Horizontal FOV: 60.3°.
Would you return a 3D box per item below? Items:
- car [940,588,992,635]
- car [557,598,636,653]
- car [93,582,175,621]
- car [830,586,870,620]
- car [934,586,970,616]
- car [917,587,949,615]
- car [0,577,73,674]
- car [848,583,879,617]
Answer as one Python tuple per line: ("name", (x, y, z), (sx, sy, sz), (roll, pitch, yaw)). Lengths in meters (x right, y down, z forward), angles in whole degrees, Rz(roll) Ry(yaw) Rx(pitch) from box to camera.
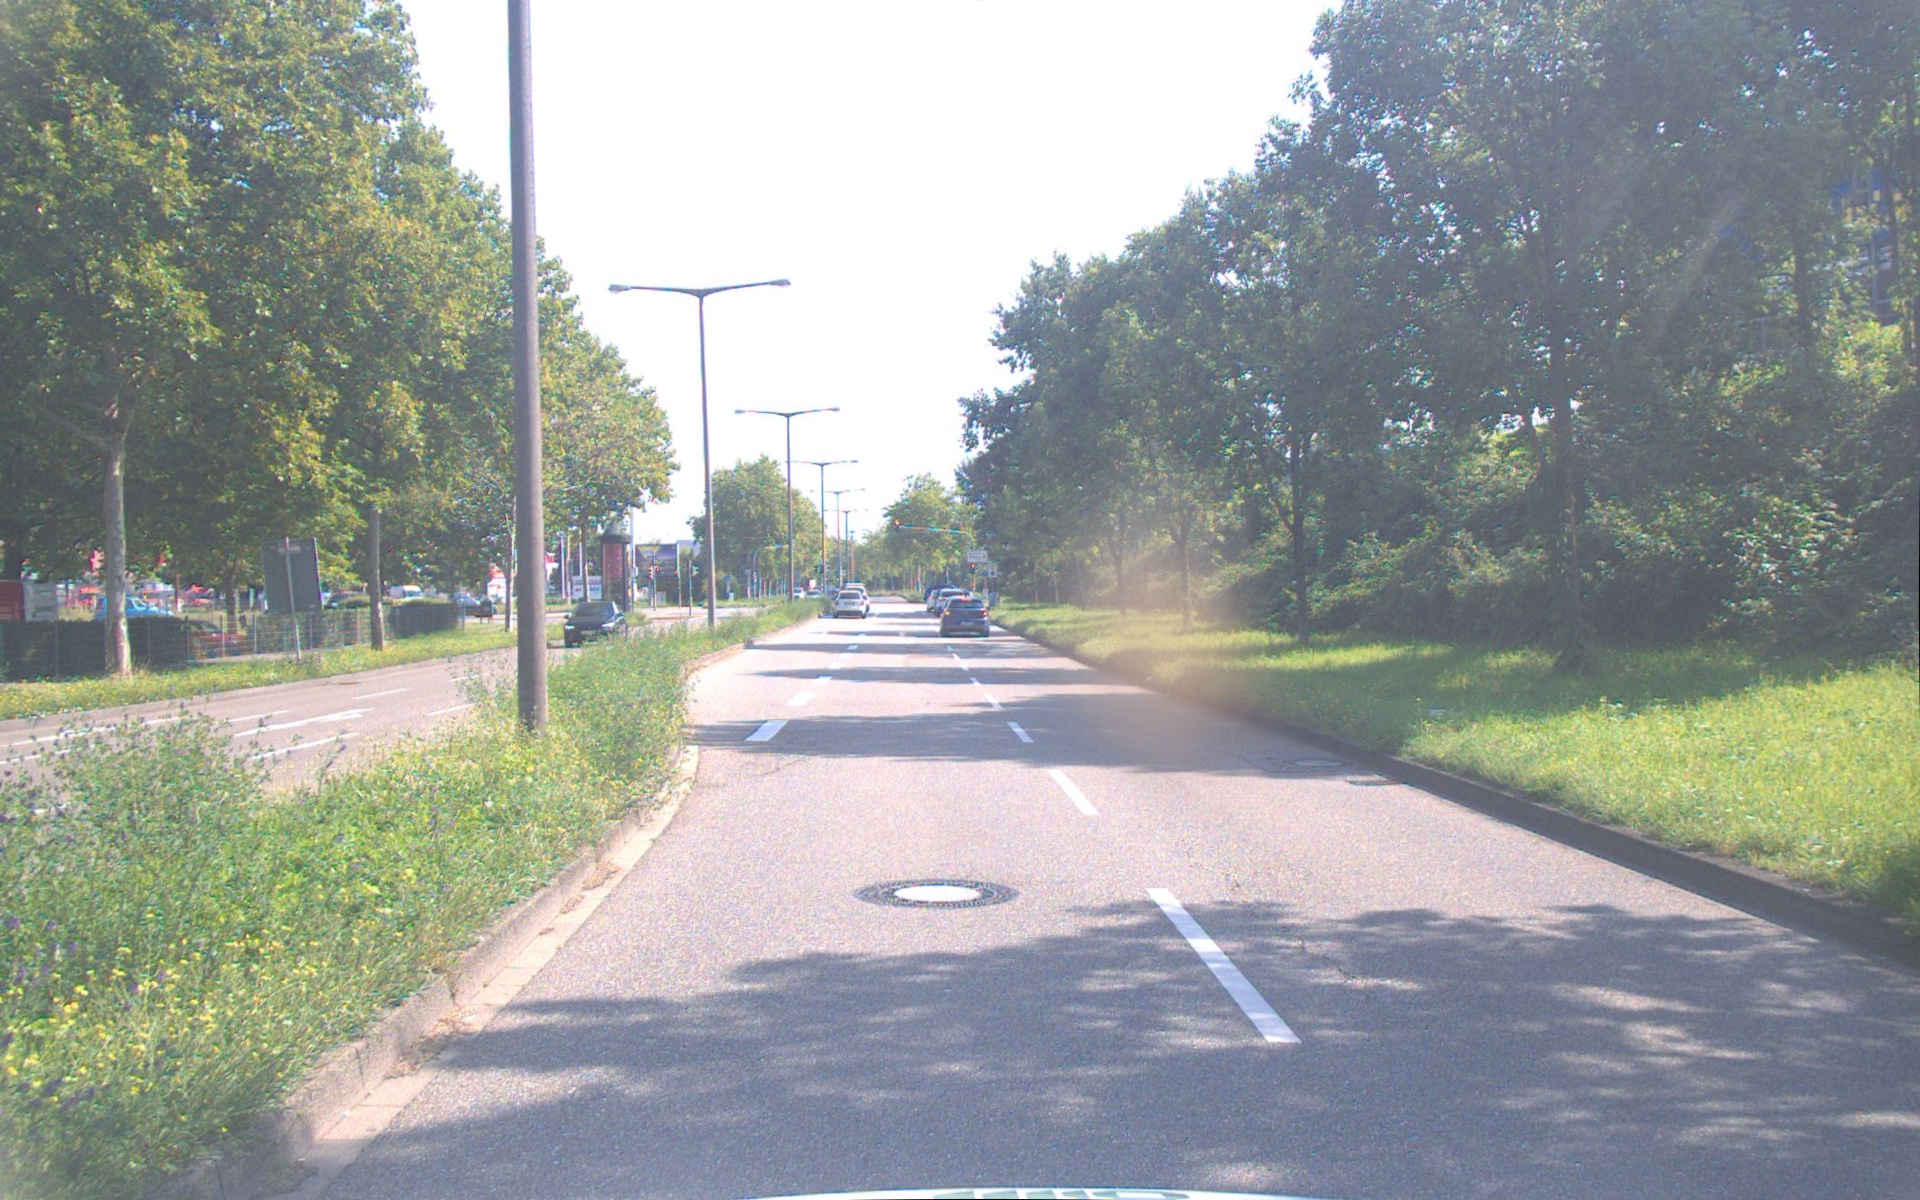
("car", (0.194, 0.400, 60.345), (1.745, 1.452, 4.000), (1, 3, -2))
("car", (-12.257, 0.834, 56.034), (1.954, 1.588, 3.999), (1, 3, -3))
("car", (-46.630, 0.037, 93.395), (3.950, 2.048, 1.978), (-1, 3, -33))
("car", (-5.866, 0.152, 88.930), (1.953, 1.731, 3.999), (-1, 0, -2))
("car", (-0.492, 0.051, 96.732), (1.954, 1.683, 3.998), (-1, 0, -3))
("car", (-1.807, 0.027, 110.026), (1.954, 1.683, 3.999), (2, 1, -3))
("car", (-26.533, 0.614, 43.164), (5.473, 2.377, 2.278), (1, 3, -4))
("car", (-6.333, -0.020, 108.718), (1.953, 2.048, 3.999), (1, 3, -3))
